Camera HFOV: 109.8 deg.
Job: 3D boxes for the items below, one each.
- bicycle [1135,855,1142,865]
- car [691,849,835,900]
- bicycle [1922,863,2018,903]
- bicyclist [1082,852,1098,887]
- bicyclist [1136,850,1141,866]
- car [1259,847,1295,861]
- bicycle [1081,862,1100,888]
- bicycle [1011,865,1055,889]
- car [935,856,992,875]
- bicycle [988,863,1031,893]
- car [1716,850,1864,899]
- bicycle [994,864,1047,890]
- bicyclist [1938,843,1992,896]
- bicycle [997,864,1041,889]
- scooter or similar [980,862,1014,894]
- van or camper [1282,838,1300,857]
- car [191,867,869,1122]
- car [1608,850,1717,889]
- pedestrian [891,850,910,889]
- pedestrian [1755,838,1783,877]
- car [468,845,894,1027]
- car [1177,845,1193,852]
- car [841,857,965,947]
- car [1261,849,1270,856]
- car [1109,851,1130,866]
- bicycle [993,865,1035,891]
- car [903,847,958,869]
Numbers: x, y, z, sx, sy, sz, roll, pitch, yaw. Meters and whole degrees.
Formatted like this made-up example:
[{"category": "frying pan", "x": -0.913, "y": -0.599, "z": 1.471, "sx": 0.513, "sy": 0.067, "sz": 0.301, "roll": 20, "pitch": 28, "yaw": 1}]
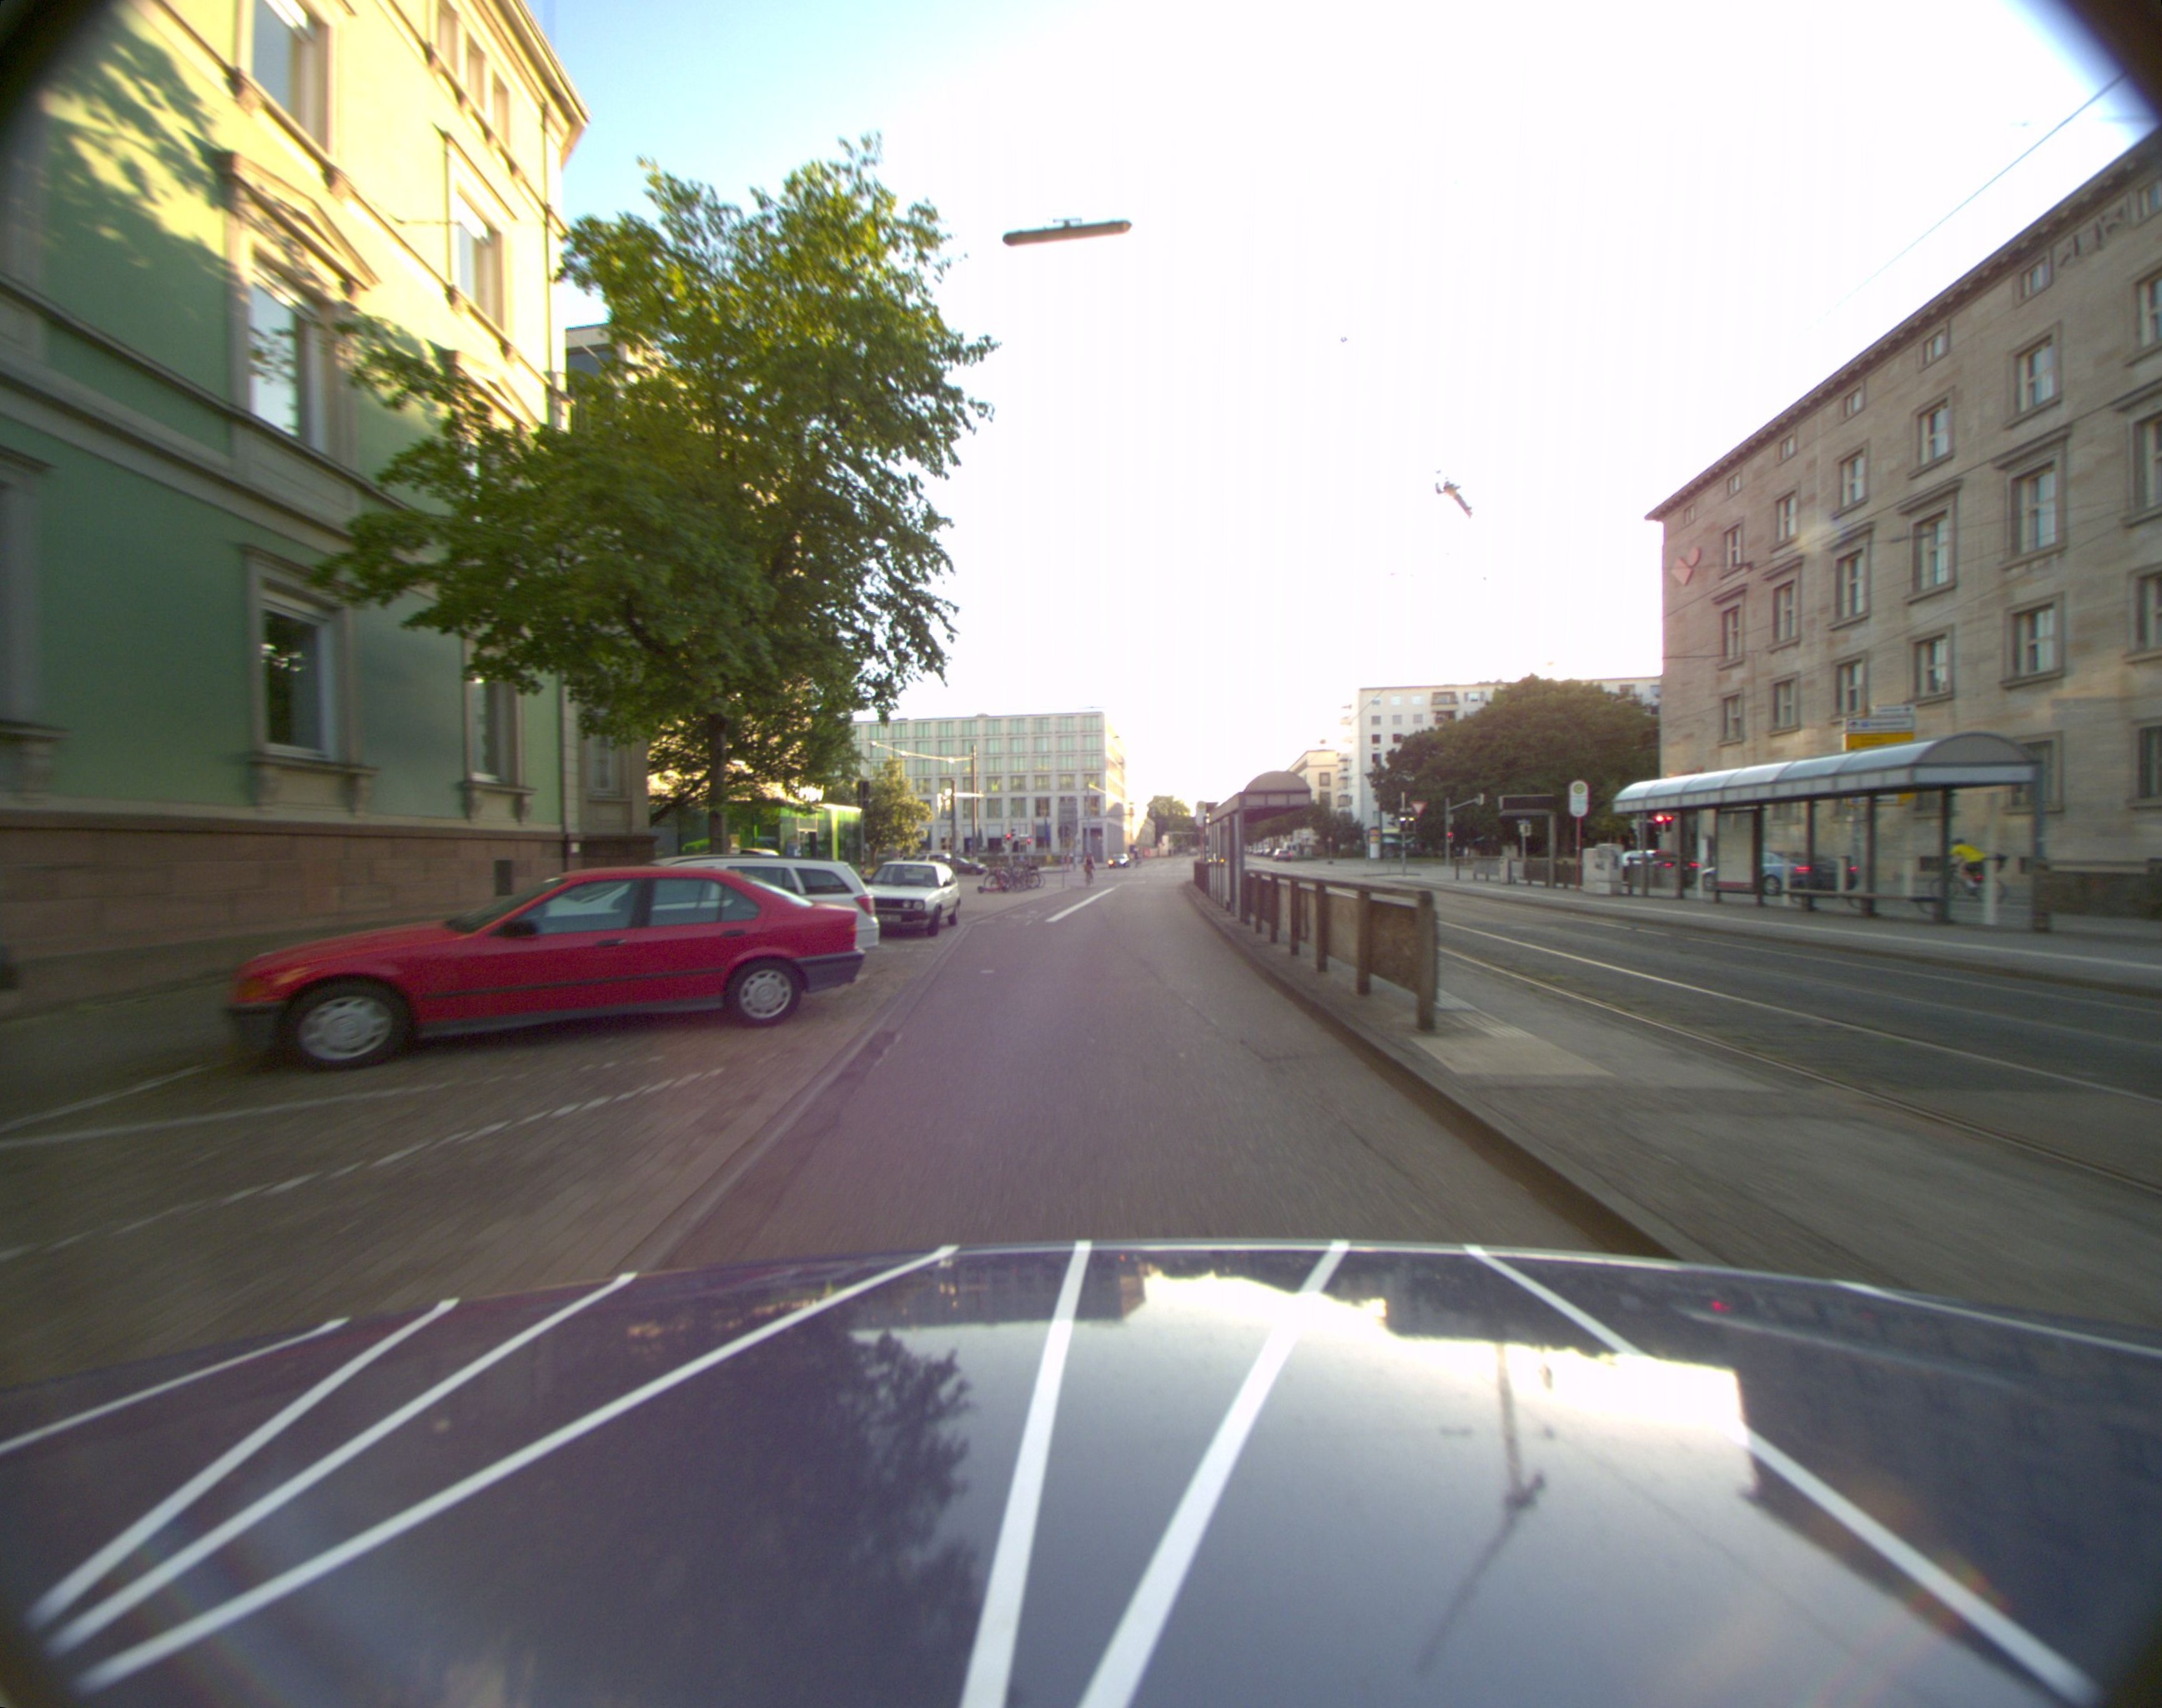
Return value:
[{"category": "bicycle", "x": 6.116, "y": 0.653, "z": 80.768, "sx": 0.539, "sy": 1.045, "sz": 1.762, "roll": -1, "pitch": 0, "yaw": 10}, {"category": "car", "x": -10.479, "y": 0.670, "z": 25.174, "sx": 3.991, "sy": 1.564, "sz": 1.805, "roll": -1, "pitch": 0, "yaw": 9}, {"category": "bicycle", "x": 24.328, "y": 0.769, "z": 20.836, "sx": 0.743, "sy": 1.011, "sz": 1.762, "roll": -1, "pitch": 0, "yaw": 9}, {"category": "bicyclist", "x": 0.420, "y": 0.725, "z": 35.431, "sx": 0.609, "sy": 1.626, "sz": 0.597, "roll": -1, "pitch": 1, "yaw": 8}, {"category": "bicyclist", "x": 6.123, "y": 0.425, "z": 80.819, "sx": 0.540, "sy": 1.626, "sz": 0.597, "roll": -1, "pitch": 1, "yaw": 9}, {"category": "car", "x": 24.866, "y": 0.019, "z": 96.330, "sx": 1.890, "sy": 1.654, "sz": 4.335, "roll": -1, "pitch": 1, "yaw": -31}, {"category": "bicycle", "x": 0.441, "y": 0.961, "z": 35.533, "sx": 0.609, "sy": 1.108, "sz": 2.087, "roll": -1, "pitch": 0, "yaw": 8}, {"category": "bicycle", "x": -2.207, "y": 1.049, "z": 35.093, "sx": 1.861, "sy": 1.068, "sz": 0.745, "roll": -1, "pitch": 1, "yaw": 26}, {"category": "car", "x": -9.286, "y": 0.872, "z": 60.159, "sx": 4.167, "sy": 1.412, "sz": 1.700, "roll": -1, "pitch": 1, "yaw": 10}, {"category": "bicycle", "x": -2.862, "y": 0.950, "z": 30.526, "sx": 1.528, "sy": 1.156, "sz": 0.745, "roll": -1, "pitch": 1, "yaw": 11}, {"category": "car", "x": 22.450, "y": 0.594, "z": 24.251, "sx": 1.646, "sy": 1.419, "sz": 3.707, "roll": -1, "pitch": 0, "yaw": 9}, {"category": "bicycle", "x": -2.724, "y": 1.029, "z": 34.156, "sx": 2.234, "sy": 1.125, "sz": 0.745, "roll": 0, "pitch": 1, "yaw": 11}, {"category": "bicyclist", "x": 24.339, "y": 0.423, "z": 20.932, "sx": 0.757, "sy": 1.432, "sz": 0.597, "roll": -1, "pitch": 1, "yaw": 9}, {"category": "bicycle", "x": -2.722, "y": 1.004, "z": 33.497, "sx": 1.758, "sy": 1.068, "sz": 0.745, "roll": -1, "pitch": 1, "yaw": 11}, {"category": "scooter or similar", "x": -3.256, "y": 0.928, "z": 29.496, "sx": 1.202, "sy": 1.218, "sz": 0.591, "roll": 1, "pitch": 1, "yaw": 9}, {"category": "van or camper", "x": 31.192, "y": -0.952, "z": 112.876, "sx": 2.108, "sy": 2.665, "sz": 4.716, "roll": -1, "pitch": -2, "yaw": 11}, {"category": "car", "x": -4.198, "y": 0.906, "z": 6.569, "sx": 4.217, "sy": 1.445, "sz": 1.641, "roll": -1, "pitch": 1, "yaw": -34}, {"category": "car", "x": 23.339, "y": 0.573, "z": 30.698, "sx": 1.646, "sy": 1.419, "sz": 4.235, "roll": -1, "pitch": 0, "yaw": 9}, {"category": "pedestrian", "x": -8.331, "y": 0.694, "z": 35.105, "sx": 0.708, "sy": 1.757, "sz": 0.989, "roll": -1, "pitch": 1, "yaw": -6}, {"category": "pedestrian", "x": 30.313, "y": 0.136, "z": 33.475, "sx": 0.696, "sy": 1.700, "sz": 0.646, "roll": -1, "pitch": 1, "yaw": 12}, {"category": "car", "x": -4.631, "y": 0.787, "z": 9.246, "sx": 4.217, "sy": 1.715, "sz": 1.717, "roll": -1, "pitch": 1, "yaw": -33}, {"category": "car", "x": 25.416, "y": -1.238, "z": 185.945, "sx": 3.804, "sy": 1.639, "sz": 1.865, "roll": -1, "pitch": 0, "yaw": 9}, {"category": "car", "x": -3.497, "y": 0.869, "z": 15.609, "sx": 1.684, "sy": 1.544, "sz": 3.999, "roll": 2, "pitch": 0, "yaw": -2}, {"category": "car", "x": 38.451, "y": -0.317, "z": 158.102, "sx": 1.720, "sy": 1.422, "sz": 3.813, "roll": -1, "pitch": 0, "yaw": 12}, {"category": "car", "x": 4.281, "y": 0.473, "z": 84.016, "sx": 1.815, "sy": 1.514, "sz": 4.813, "roll": -3, "pitch": 0, "yaw": 8}, {"category": "bicycle", "x": -2.787, "y": 0.996, "z": 31.654, "sx": 1.553, "sy": 1.068, "sz": 0.745, "roll": -1, "pitch": 1, "yaw": 11}, {"category": "car", "x": -13.549, "y": 0.382, "z": 68.369, "sx": 4.459, "sy": 1.900, "sz": 1.807, "roll": -1, "pitch": 0, "yaw": 8}]
